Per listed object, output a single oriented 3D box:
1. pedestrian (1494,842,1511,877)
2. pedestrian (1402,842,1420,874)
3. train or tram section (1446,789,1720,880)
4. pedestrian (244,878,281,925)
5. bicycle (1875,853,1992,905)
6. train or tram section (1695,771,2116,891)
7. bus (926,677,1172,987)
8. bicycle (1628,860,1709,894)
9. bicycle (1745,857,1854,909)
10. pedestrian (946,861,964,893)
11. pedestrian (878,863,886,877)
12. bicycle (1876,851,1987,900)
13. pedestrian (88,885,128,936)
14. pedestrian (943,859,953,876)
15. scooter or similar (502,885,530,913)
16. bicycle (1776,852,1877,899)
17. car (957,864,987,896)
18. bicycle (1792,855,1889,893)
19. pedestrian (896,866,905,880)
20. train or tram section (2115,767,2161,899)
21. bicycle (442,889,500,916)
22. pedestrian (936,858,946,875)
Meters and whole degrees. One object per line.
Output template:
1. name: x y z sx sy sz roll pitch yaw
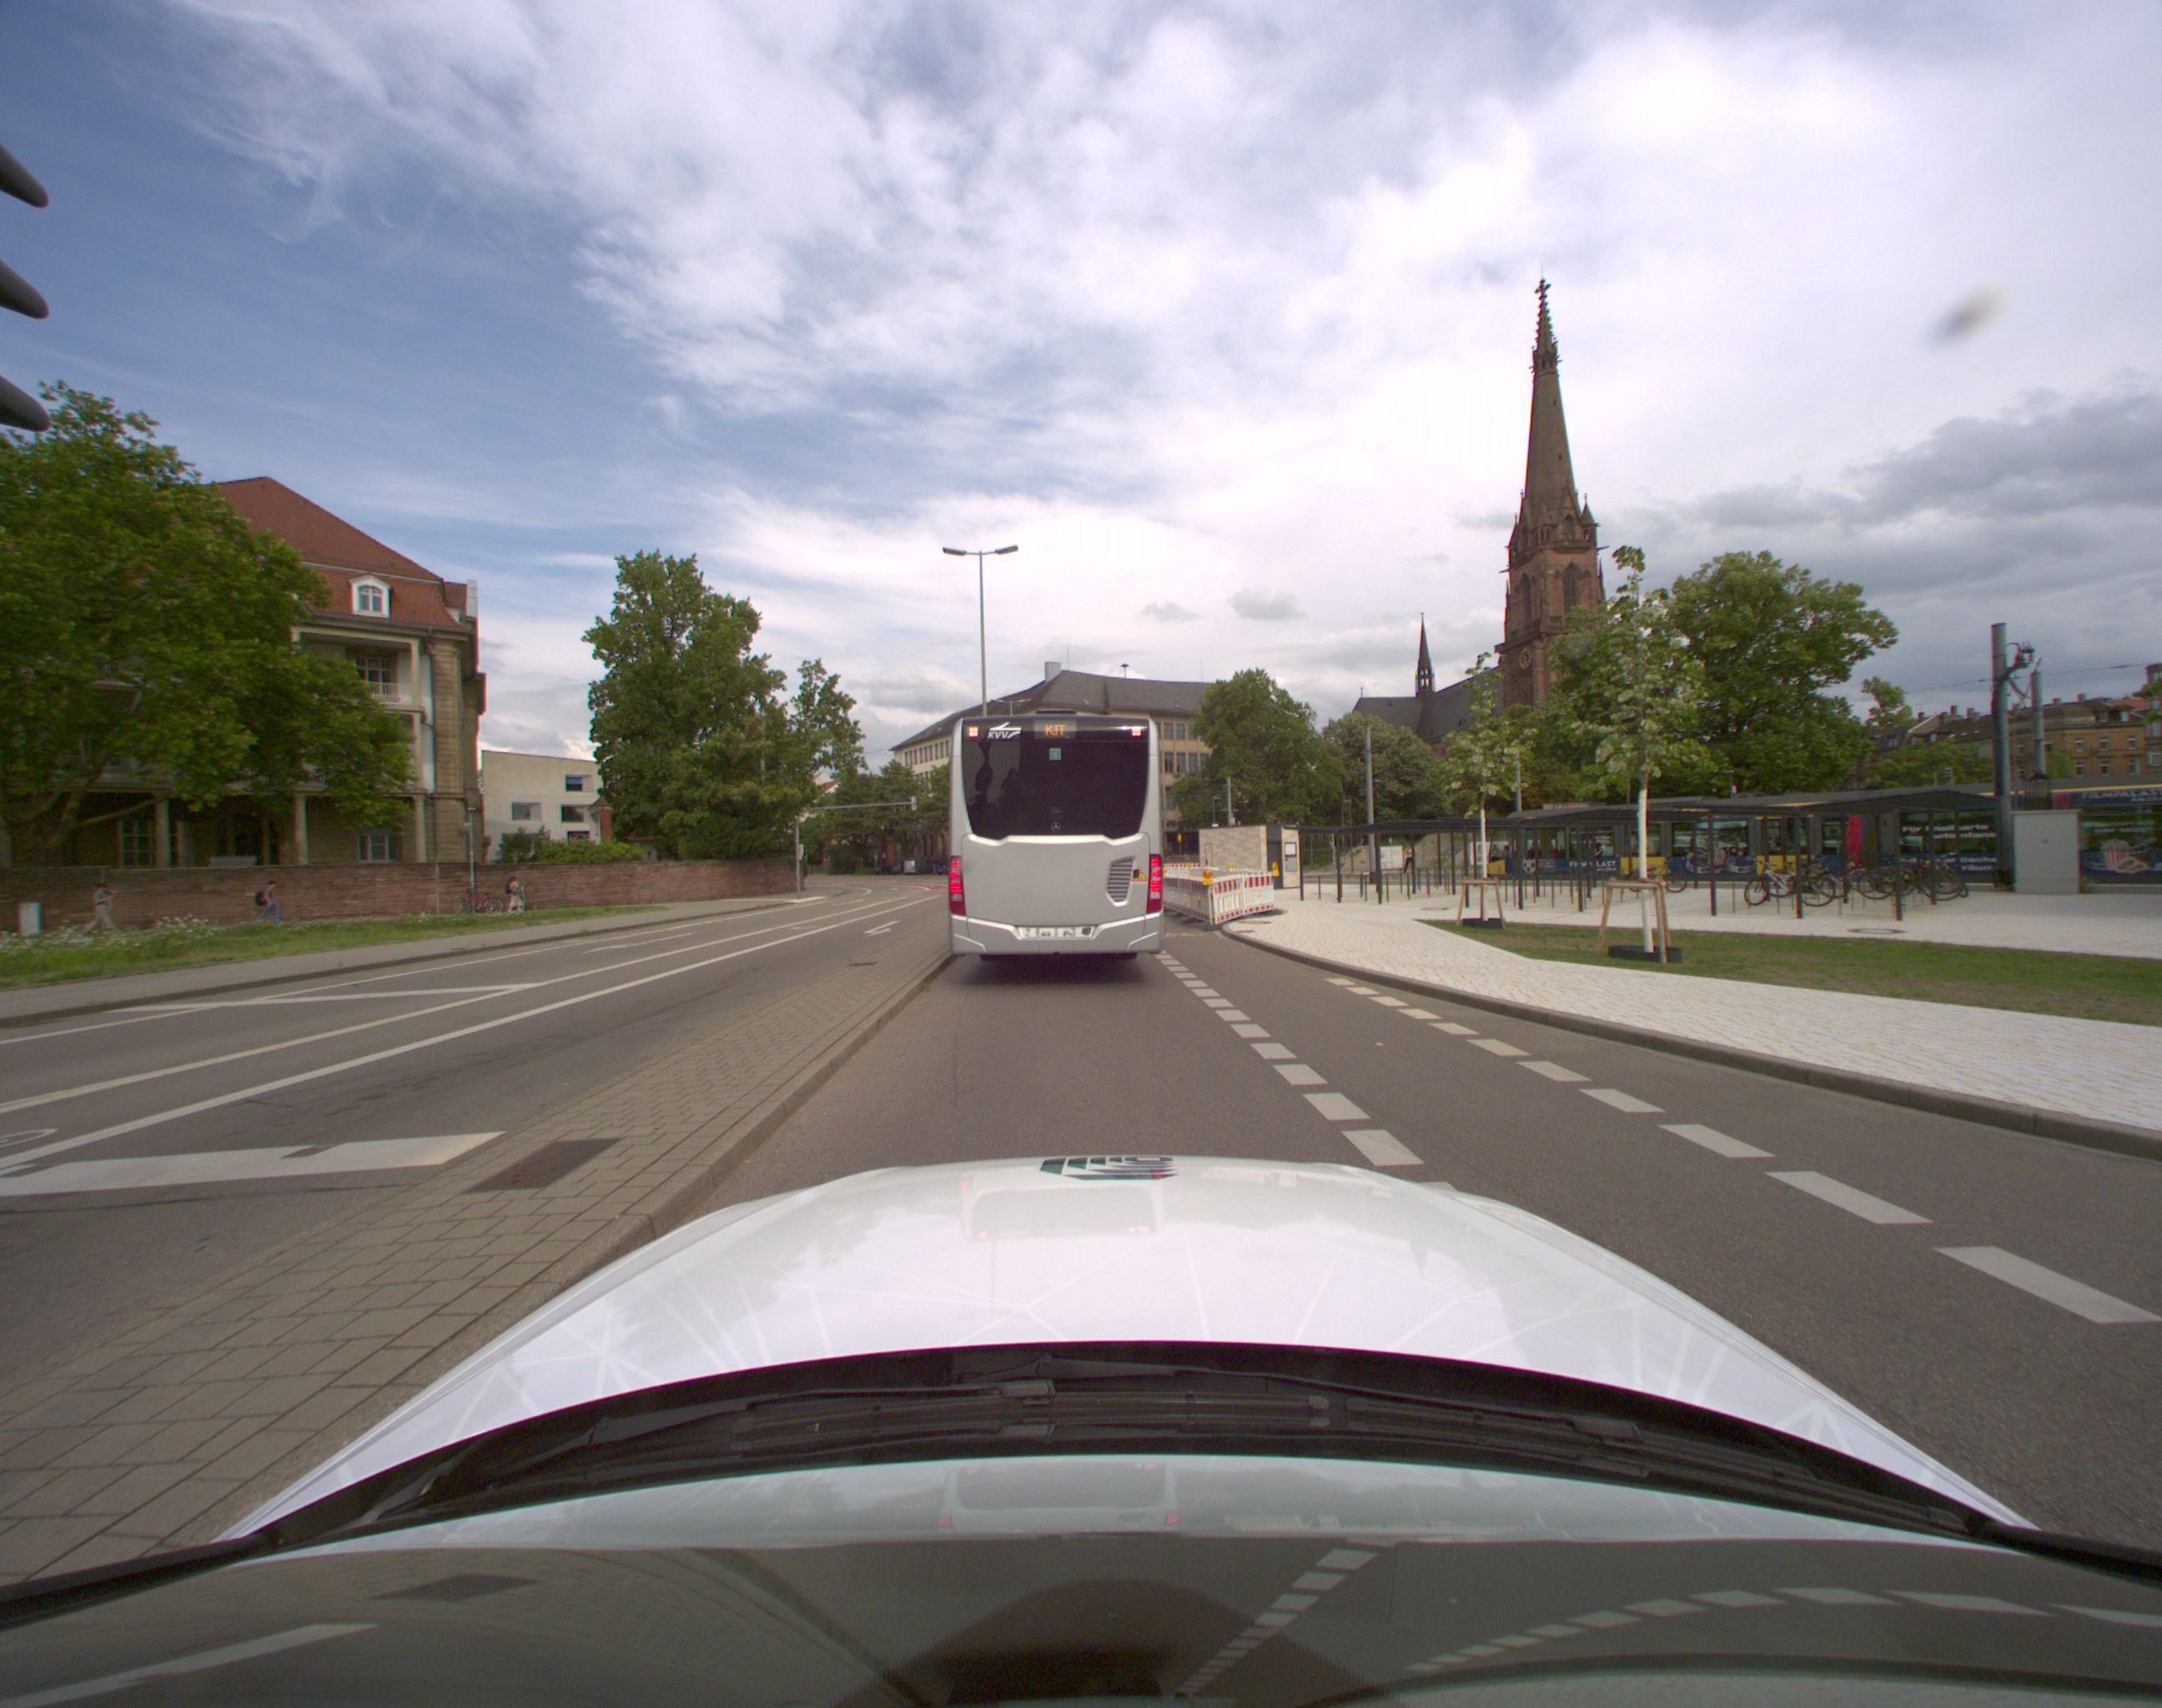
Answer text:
1. pedestrian: 22.106 0.269 42.714 0.526 1.800 0.670 -3 2 -44
2. pedestrian: 19.144 0.204 47.225 0.816 1.800 0.754 -1 2 9
3. train or tram section: 20.525 -0.827 34.026 3.077 3.276 9.266 -3 2 -37
4. pedestrian: -30.518 1.760 30.369 0.570 1.654 0.787 0 2 31
5. bicycle: 20.682 0.581 19.815 1.942 1.156 0.587 1 3 44
6. train or tram section: 26.113 -0.735 26.518 3.077 3.212 9.326 -3 2 -37
7. bus: -0.700 -0.143 16.245 2.698 3.438 14.166 -1 -1 -3
8. bicycle: 18.149 0.682 25.197 0.587 0.955 1.944 -3 2 -40
9. bicycle: 17.371 0.665 19.719 1.942 1.156 0.587 1 3 44
10. pedestrian: -6.961 1.244 45.099 0.794 1.710 0.840 -1 2 3
11. pedestrian: -28.647 2.311 117.091 0.892 2.013 1.000 -1 0 -28
12. bicycle: 21.714 0.519 20.853 1.942 1.156 0.587 1 3 44
13. pedestrian: -33.763 1.939 28.262 0.570 1.654 0.787 0 2 37
14. pedestrian: -16.225 1.626 99.328 0.892 2.013 1.000 -1 0 -28
15. scooter or similar: -25.638 2.020 36.966 0.519 1.139 1.512 -2 2 -15
16. bicycle: 19.589 0.550 21.425 1.942 1.156 0.587 1 3 44
17. car: -7.959 1.882 59.279 1.993 2.013 3.989 -2 2 -8
18. bicycle: 21.430 0.543 23.010 0.587 0.970 1.944 -3 2 -40
19. pedestrian: -25.030 2.637 112.842 0.892 2.013 1.000 -1 0 -28
20. train or tram section: 31.881 -0.553 18.824 3.077 3.449 9.820 -3 2 -37
21. bicycle: -26.852 2.117 35.848 1.937 1.005 0.770 -3 3 -44
22. pedestrian: -17.581 1.553 102.307 0.892 2.013 1.000 -1 0 -28
